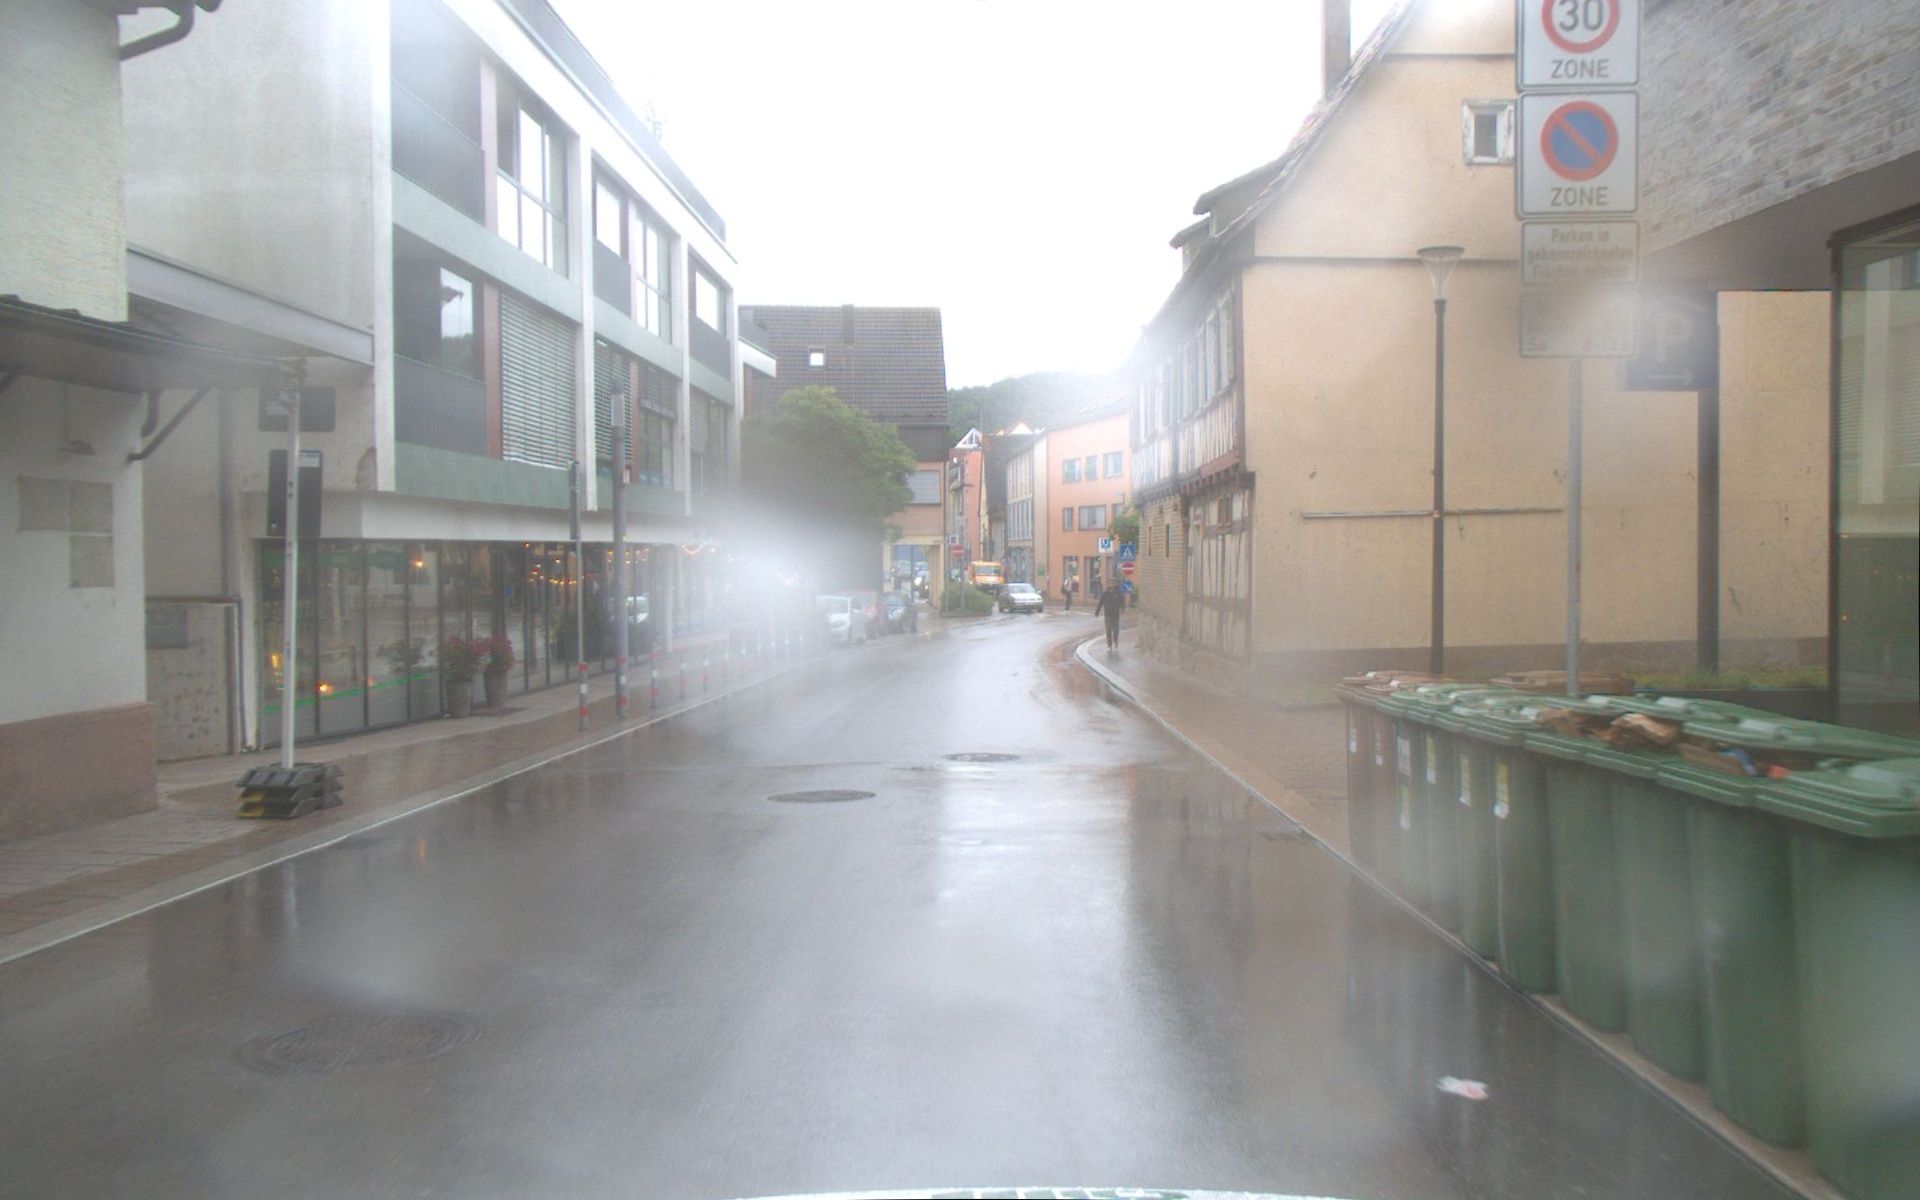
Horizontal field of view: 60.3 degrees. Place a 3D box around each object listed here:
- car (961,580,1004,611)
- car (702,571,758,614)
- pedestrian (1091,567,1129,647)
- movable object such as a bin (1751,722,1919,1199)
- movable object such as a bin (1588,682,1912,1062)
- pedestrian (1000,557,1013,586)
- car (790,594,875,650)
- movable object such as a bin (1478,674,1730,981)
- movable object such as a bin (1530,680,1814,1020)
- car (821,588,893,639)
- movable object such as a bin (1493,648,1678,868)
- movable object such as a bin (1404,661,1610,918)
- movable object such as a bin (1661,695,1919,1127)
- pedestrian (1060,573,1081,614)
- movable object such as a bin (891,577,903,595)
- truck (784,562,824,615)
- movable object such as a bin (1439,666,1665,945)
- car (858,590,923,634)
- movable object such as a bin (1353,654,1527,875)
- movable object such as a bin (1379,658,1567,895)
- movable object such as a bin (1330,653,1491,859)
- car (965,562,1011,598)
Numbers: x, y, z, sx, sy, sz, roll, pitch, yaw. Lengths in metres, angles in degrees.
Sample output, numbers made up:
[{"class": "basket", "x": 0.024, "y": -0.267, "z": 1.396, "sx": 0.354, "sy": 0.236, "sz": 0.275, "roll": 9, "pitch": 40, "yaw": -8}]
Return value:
[{"class": "car", "x": 1.090, "y": -0.252, "z": 82.975, "sx": 1.682, "sy": 1.483, "sz": 3.905, "roll": 0, "pitch": 1, "yaw": -7}, {"class": "car", "x": -10.265, "y": -0.347, "z": 74.087, "sx": 1.774, "sy": 1.645, "sz": 4.003, "roll": 0, "pitch": 4, "yaw": 2}, {"class": "pedestrian", "x": 3.720, "y": 0.169, "z": 41.095, "sx": 0.793, "sy": 1.918, "sz": 0.907, "roll": -2, "pitch": 1, "yaw": -1}, {"class": "movable object such as a bin", "x": 2.533, "y": 0.894, "z": 4.180, "sx": 0.725, "sy": 1.114, "sz": 0.657, "roll": -2, "pitch": 0, "yaw": 0}, {"class": "movable object such as a bin", "x": 2.541, "y": 0.851, "z": 5.380, "sx": 0.750, "sy": 1.114, "sz": 0.581, "roll": -2, "pitch": 0, "yaw": 0}, {"class": "pedestrian", "x": 3.384, "y": -2.064, "z": 120.339, "sx": 0.850, "sy": 2.048, "sz": 0.706, "roll": -1, "pitch": 1, "yaw": -8}, {"class": "car", "x": -3.710, "y": 0.625, "z": 48.955, "sx": 1.749, "sy": 1.525, "sz": 4.457, "roll": -1, "pitch": 0, "yaw": 5}, {"class": "movable object such as a bin", "x": 2.536, "y": 0.876, "z": 6.567, "sx": 0.750, "sy": 1.114, "sz": 0.581, "roll": -2, "pitch": 0, "yaw": 0}, {"class": "movable object such as a bin", "x": 2.542, "y": 0.873, "z": 5.967, "sx": 0.750, "sy": 1.114, "sz": 0.581, "roll": -2, "pitch": 0, "yaw": 0}, {"class": "car", "x": -3.364, "y": 0.414, "z": 54.683, "sx": 1.749, "sy": 1.603, "sz": 4.110, "roll": -1, "pitch": 0, "yaw": 5}, {"class": "movable object such as a bin", "x": 3.396, "y": 0.839, "z": 9.023, "sx": 0.750, "sy": 1.114, "sz": 0.627, "roll": -2, "pitch": 0, "yaw": 0}, {"class": "movable object such as a bin", "x": 2.552, "y": 0.867, "z": 7.770, "sx": 0.750, "sy": 1.114, "sz": 0.581, "roll": -2, "pitch": 0, "yaw": 0}, {"class": "movable object such as a bin", "x": 2.536, "y": 0.860, "z": 4.776, "sx": 0.750, "sy": 1.114, "sz": 0.581, "roll": -2, "pitch": 0, "yaw": 0}, {"class": "pedestrian", "x": 5.230, "y": -0.300, "z": 78.374, "sx": 0.843, "sy": 1.948, "sz": 0.758, "roll": 0, "pitch": 1, "yaw": 16}, {"class": "movable object such as a bin", "x": -4.838, "y": -1.066, "z": 126.242, "sx": 0.818, "sy": 1.406, "sz": 0.852, "roll": -1, "pitch": 1, "yaw": -9}, {"class": "truck", "x": -7.059, "y": -0.550, "z": 75.043, "sx": 1.565, "sy": 2.097, "sz": 3.193, "roll": -2, "pitch": 5, "yaw": -2}, {"class": "movable object such as a bin", "x": 2.549, "y": 0.867, "z": 7.177, "sx": 0.750, "sy": 1.114, "sz": 0.581, "roll": -2, "pitch": 0, "yaw": 0}, {"class": "car", "x": -2.483, "y": 0.398, "z": 59.647, "sx": 1.678, "sy": 1.483, "sz": 3.914, "roll": 1, "pitch": 1, "yaw": 8}, {"class": "movable object such as a bin", "x": 2.593, "y": 0.876, "z": 8.984, "sx": 0.750, "sy": 1.114, "sz": 0.581, "roll": -2, "pitch": 0, "yaw": 0}, {"class": "movable object such as a bin", "x": 2.587, "y": 0.873, "z": 8.391, "sx": 0.750, "sy": 1.114, "sz": 0.581, "roll": -2, "pitch": 0, "yaw": 0}, {"class": "movable object such as a bin", "x": 2.599, "y": 0.885, "z": 9.584, "sx": 0.750, "sy": 1.114, "sz": 0.581, "roll": -2, "pitch": 0, "yaw": 0}, {"class": "car", "x": 1.814, "y": -1.301, "z": 108.435, "sx": 2.066, "sy": 2.183, "sz": 4.855, "roll": -3, "pitch": 1, "yaw": -10}]
